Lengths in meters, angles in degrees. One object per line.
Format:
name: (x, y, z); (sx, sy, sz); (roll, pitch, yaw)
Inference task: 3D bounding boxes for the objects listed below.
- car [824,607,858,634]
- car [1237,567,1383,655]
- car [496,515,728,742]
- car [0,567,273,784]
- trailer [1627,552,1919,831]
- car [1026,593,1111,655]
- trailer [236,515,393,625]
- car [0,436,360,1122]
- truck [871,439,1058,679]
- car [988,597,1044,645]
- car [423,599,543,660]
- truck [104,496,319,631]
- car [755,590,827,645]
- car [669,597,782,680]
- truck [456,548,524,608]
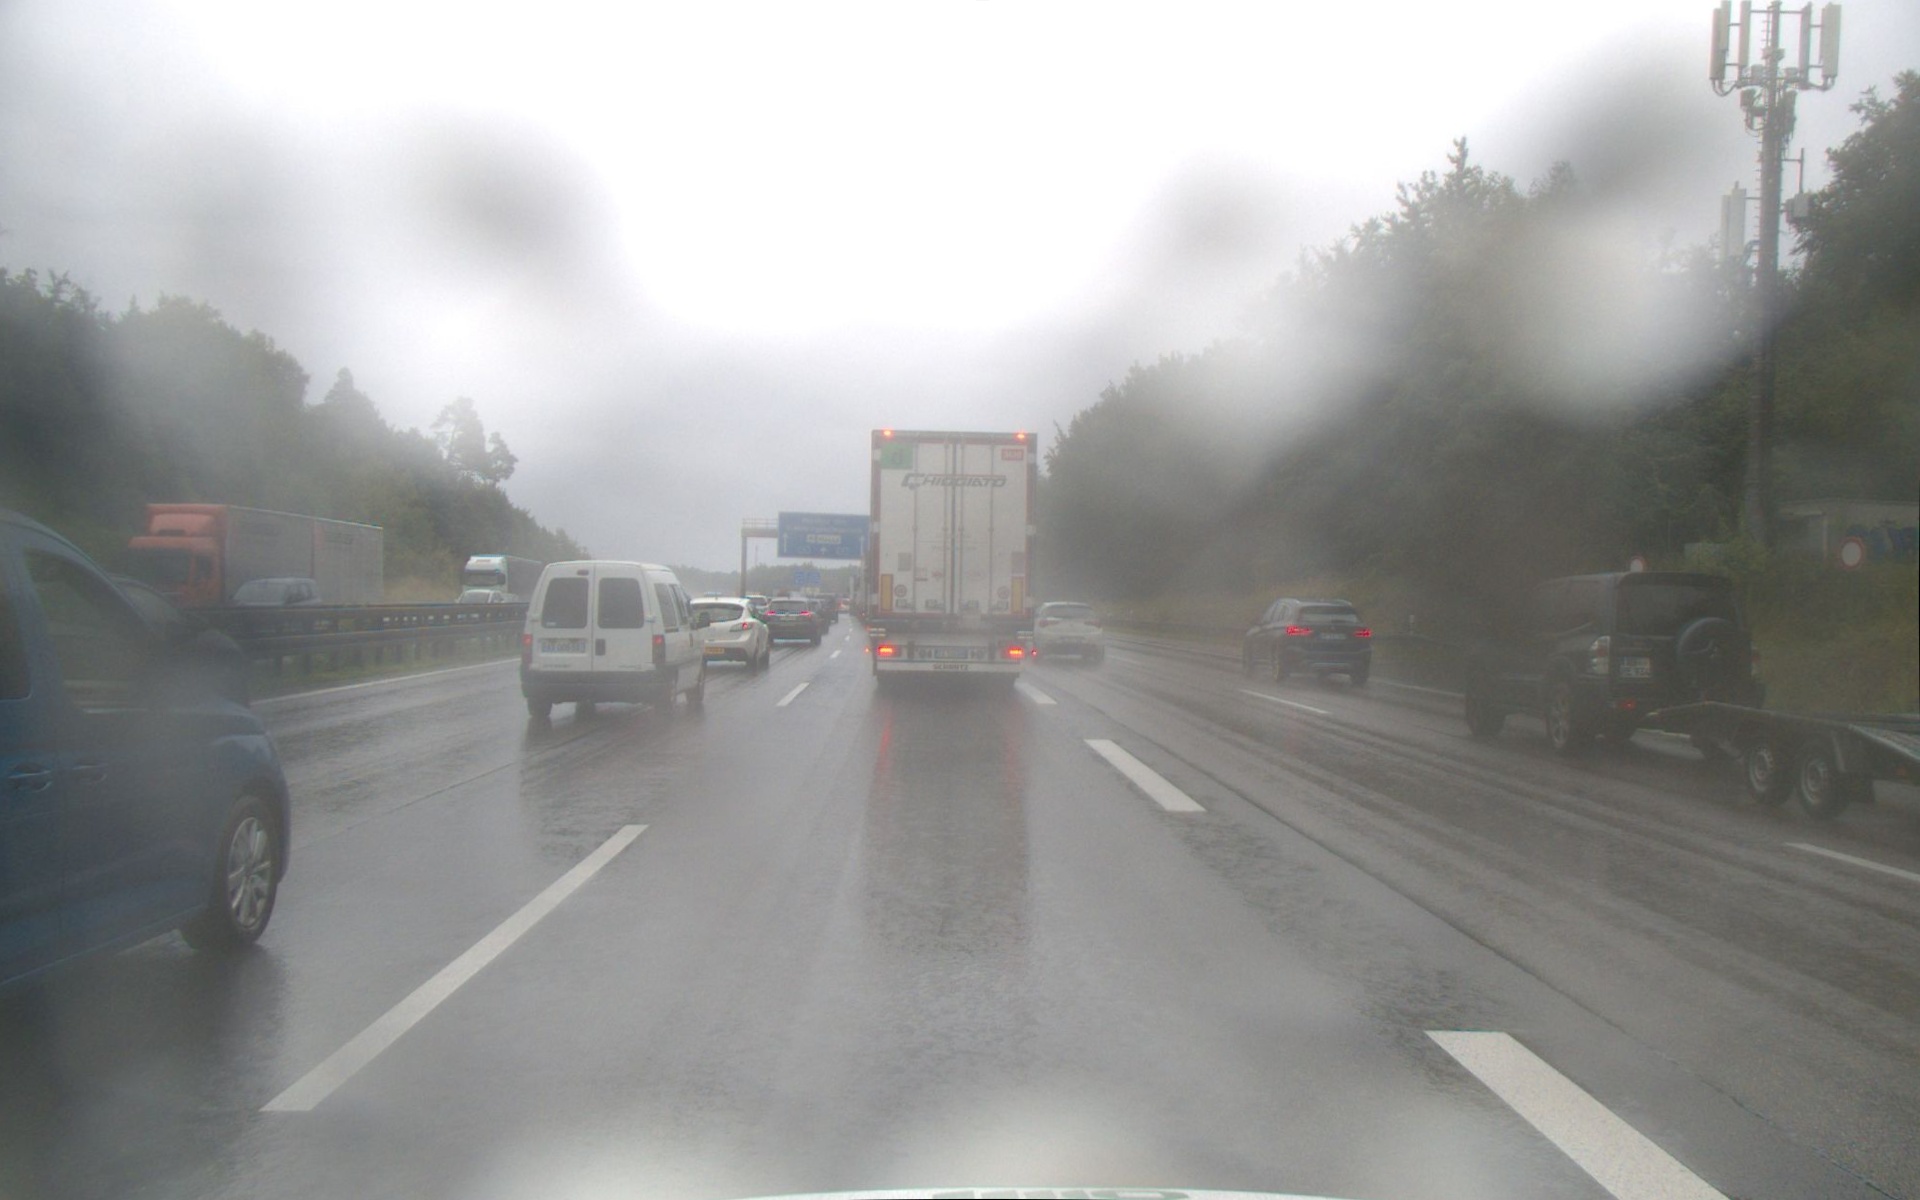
car: (-6.480, 1.121, 90.458); (1.809, 1.354, 4.463); (1, 0, -4)
car: (6.920, 0.192, 33.156); (1.949, 1.611, 4.767); (1, 0, 1)
car: (-4.397, 0.315, 21.753); (2.168, 2.618, 5.013); (1, 0, -3)
car: (-7.812, 0.540, 14.573); (1.808, 1.619, 4.464); (1, 0, -3)
trailer: (7.158, 0.573, 12.607); (2.197, 1.744, 5.083); (1, 0, 1)
car: (2.719, 0.577, 42.272); (1.851, 1.450, 4.483); (1, 0, 0)
trailer: (-24.502, -1.081, 63.347); (2.628, 3.884, 9.004); (0, 0, -1)
car: (-3.824, 0.494, 4.854); (2.223, 1.945, 5.016); (1, 0, 1)
truck: (-0.024, -0.597, 30.873); (2.814, 3.624, 11.299); (1, 0, -1)
car: (1.933, 0.710, 58.348); (1.808, 1.549, 4.343); (1, 0, 0)
car: (-13.156, 0.776, 45.933); (2.048, 1.531, 4.753); (-1, 1, -2)
truck: (-24.208, -1.102, 54.206); (2.649, 4.000, 10.024); (0, 0, -1)
car: (-5.324, 0.521, 52.591); (1.808, 1.619, 4.466); (1, 0, 0)
car: (-4.902, 0.758, 35.048); (1.808, 1.619, 4.071); (1, 0, 0)
truck: (-31.555, -1.440, 111.317); (2.959, 3.884, 6.261); (0, 0, -2)
